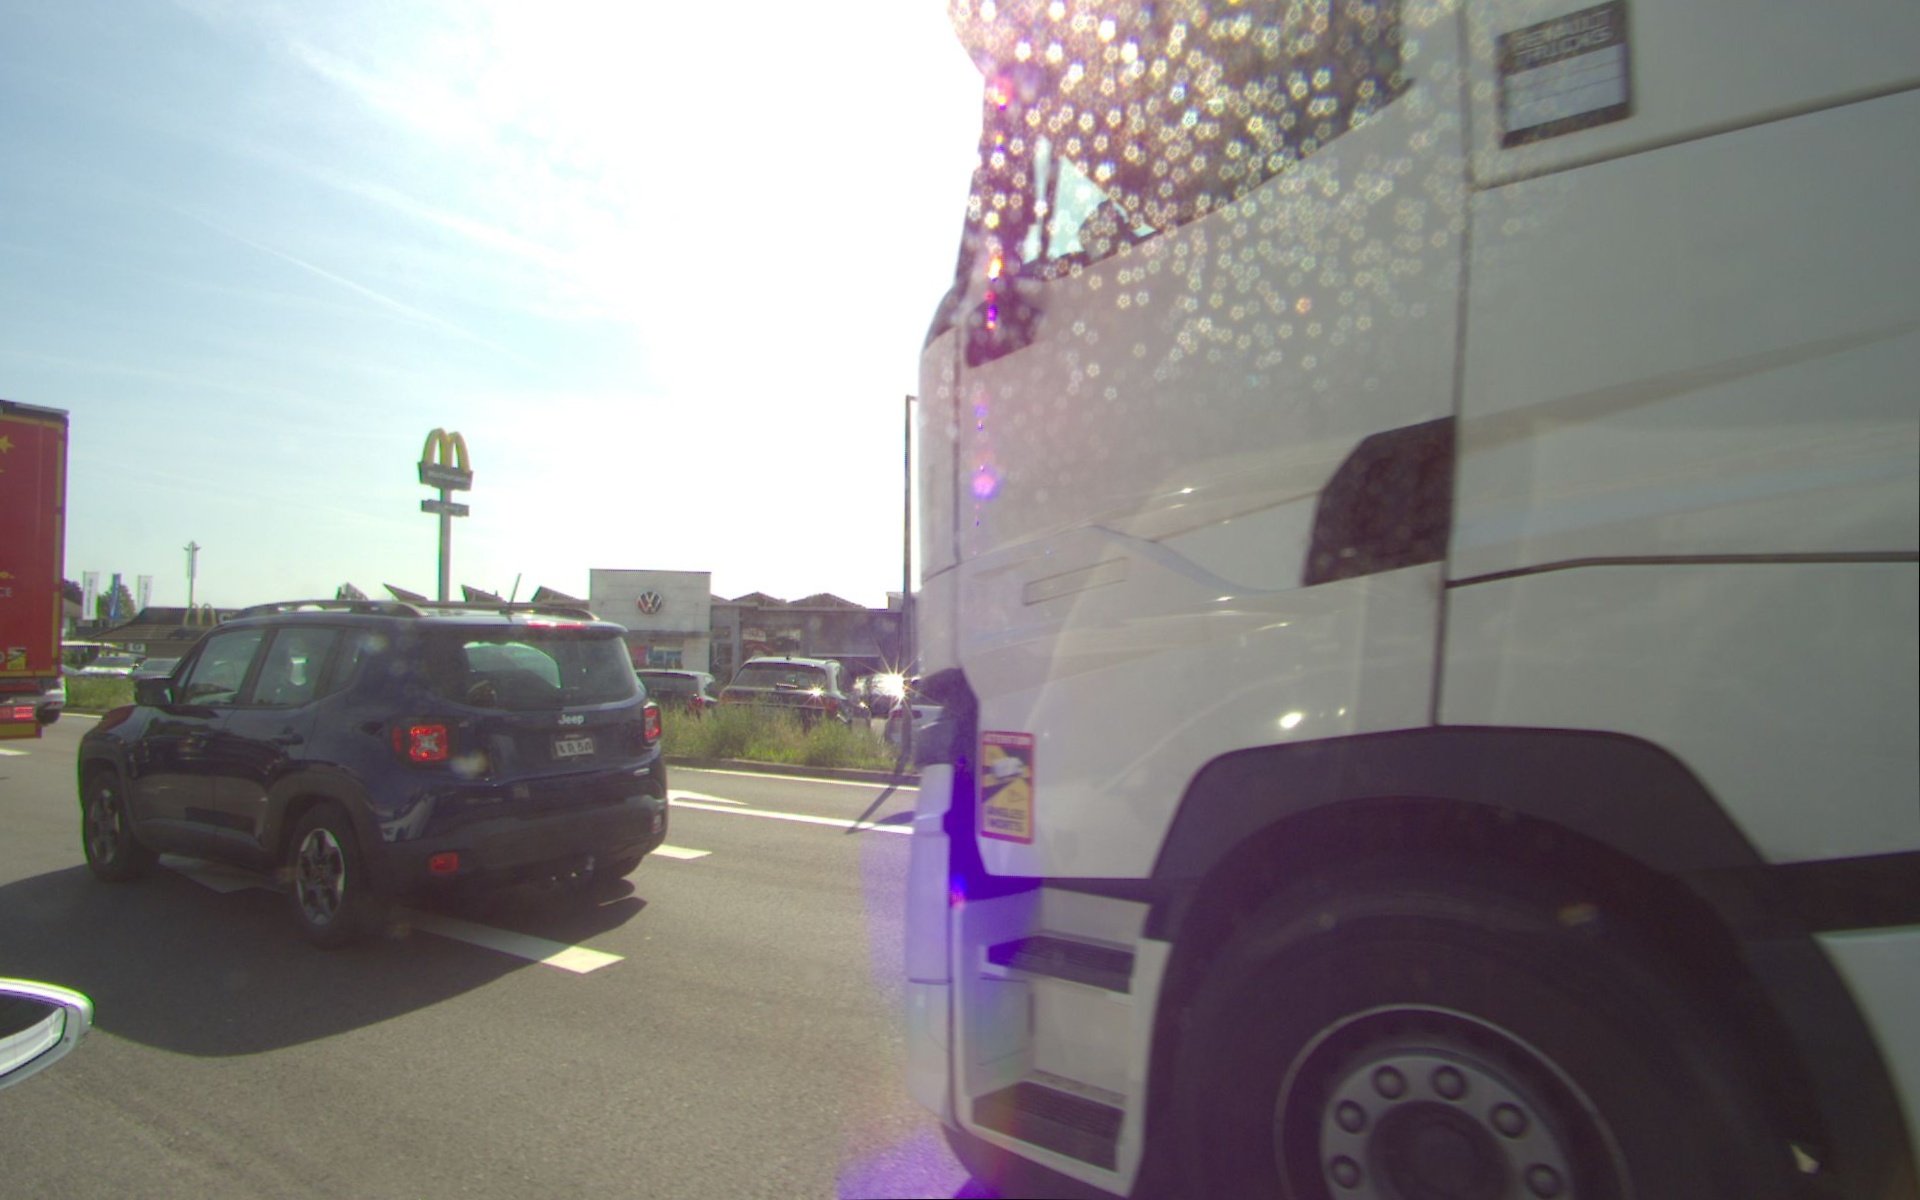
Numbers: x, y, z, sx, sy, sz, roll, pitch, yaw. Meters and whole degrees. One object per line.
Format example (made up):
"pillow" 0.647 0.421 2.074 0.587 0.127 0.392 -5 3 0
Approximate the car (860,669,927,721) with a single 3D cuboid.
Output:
"car" -2.306 3.153 33.792 1.706 1.555 4.036 1 -3 -11

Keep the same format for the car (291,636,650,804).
"car" -5.318 1.143 10.752 3.943 1.490 1.656 -1 -2 32

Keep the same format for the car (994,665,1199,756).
"car" 3.053 2.413 22.637 4.172 1.777 1.899 -1 -3 33

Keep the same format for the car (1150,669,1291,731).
"car" 7.546 2.857 29.075 3.666 1.601 1.599 -1 -3 31

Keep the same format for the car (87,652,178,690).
"car" -36.229 3.074 43.961 1.709 1.555 4.030 2 -3 -19

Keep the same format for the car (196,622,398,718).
"car" -14.736 1.524 22.545 1.669 1.945 3.848 1 -2 6

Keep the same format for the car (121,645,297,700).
"car" -23.072 2.212 30.868 3.922 1.550 2.002 1 -2 2

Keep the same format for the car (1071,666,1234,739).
"car" 4.785 2.492 25.010 3.666 1.601 1.599 -1 -3 31

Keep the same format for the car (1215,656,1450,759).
"car" 7.603 2.110 20.535 4.175 1.812 1.973 -1 -3 35

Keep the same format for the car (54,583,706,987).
"car" -3.612 0.833 6.079 3.943 1.706 1.816 -1 -2 32

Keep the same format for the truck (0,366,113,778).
"truck" -17.365 -0.224 14.249 16.340 4.323 2.954 -1 -2 31

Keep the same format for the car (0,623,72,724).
"car" -17.843 1.265 17.998 3.943 1.706 1.816 -1 -2 33

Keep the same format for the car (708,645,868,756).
"car" -2.412 1.398 15.000 1.705 1.420 4.040 1 -3 0

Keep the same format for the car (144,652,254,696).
"car" -28.806 2.778 38.055 1.706 1.555 4.036 1 -3 -11

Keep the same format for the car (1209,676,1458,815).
"car" 4.770 1.811 13.511 1.705 1.420 4.351 1 -3 0

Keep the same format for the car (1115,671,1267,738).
"car" 6.202 2.756 26.952 3.666 1.601 1.599 -1 -3 31

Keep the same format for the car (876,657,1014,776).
"car" -0.201 1.570 14.528 1.705 1.420 4.040 1 -3 0

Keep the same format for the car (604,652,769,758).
"car" -4.492 1.680 17.045 1.705 1.555 4.040 1 -3 0
